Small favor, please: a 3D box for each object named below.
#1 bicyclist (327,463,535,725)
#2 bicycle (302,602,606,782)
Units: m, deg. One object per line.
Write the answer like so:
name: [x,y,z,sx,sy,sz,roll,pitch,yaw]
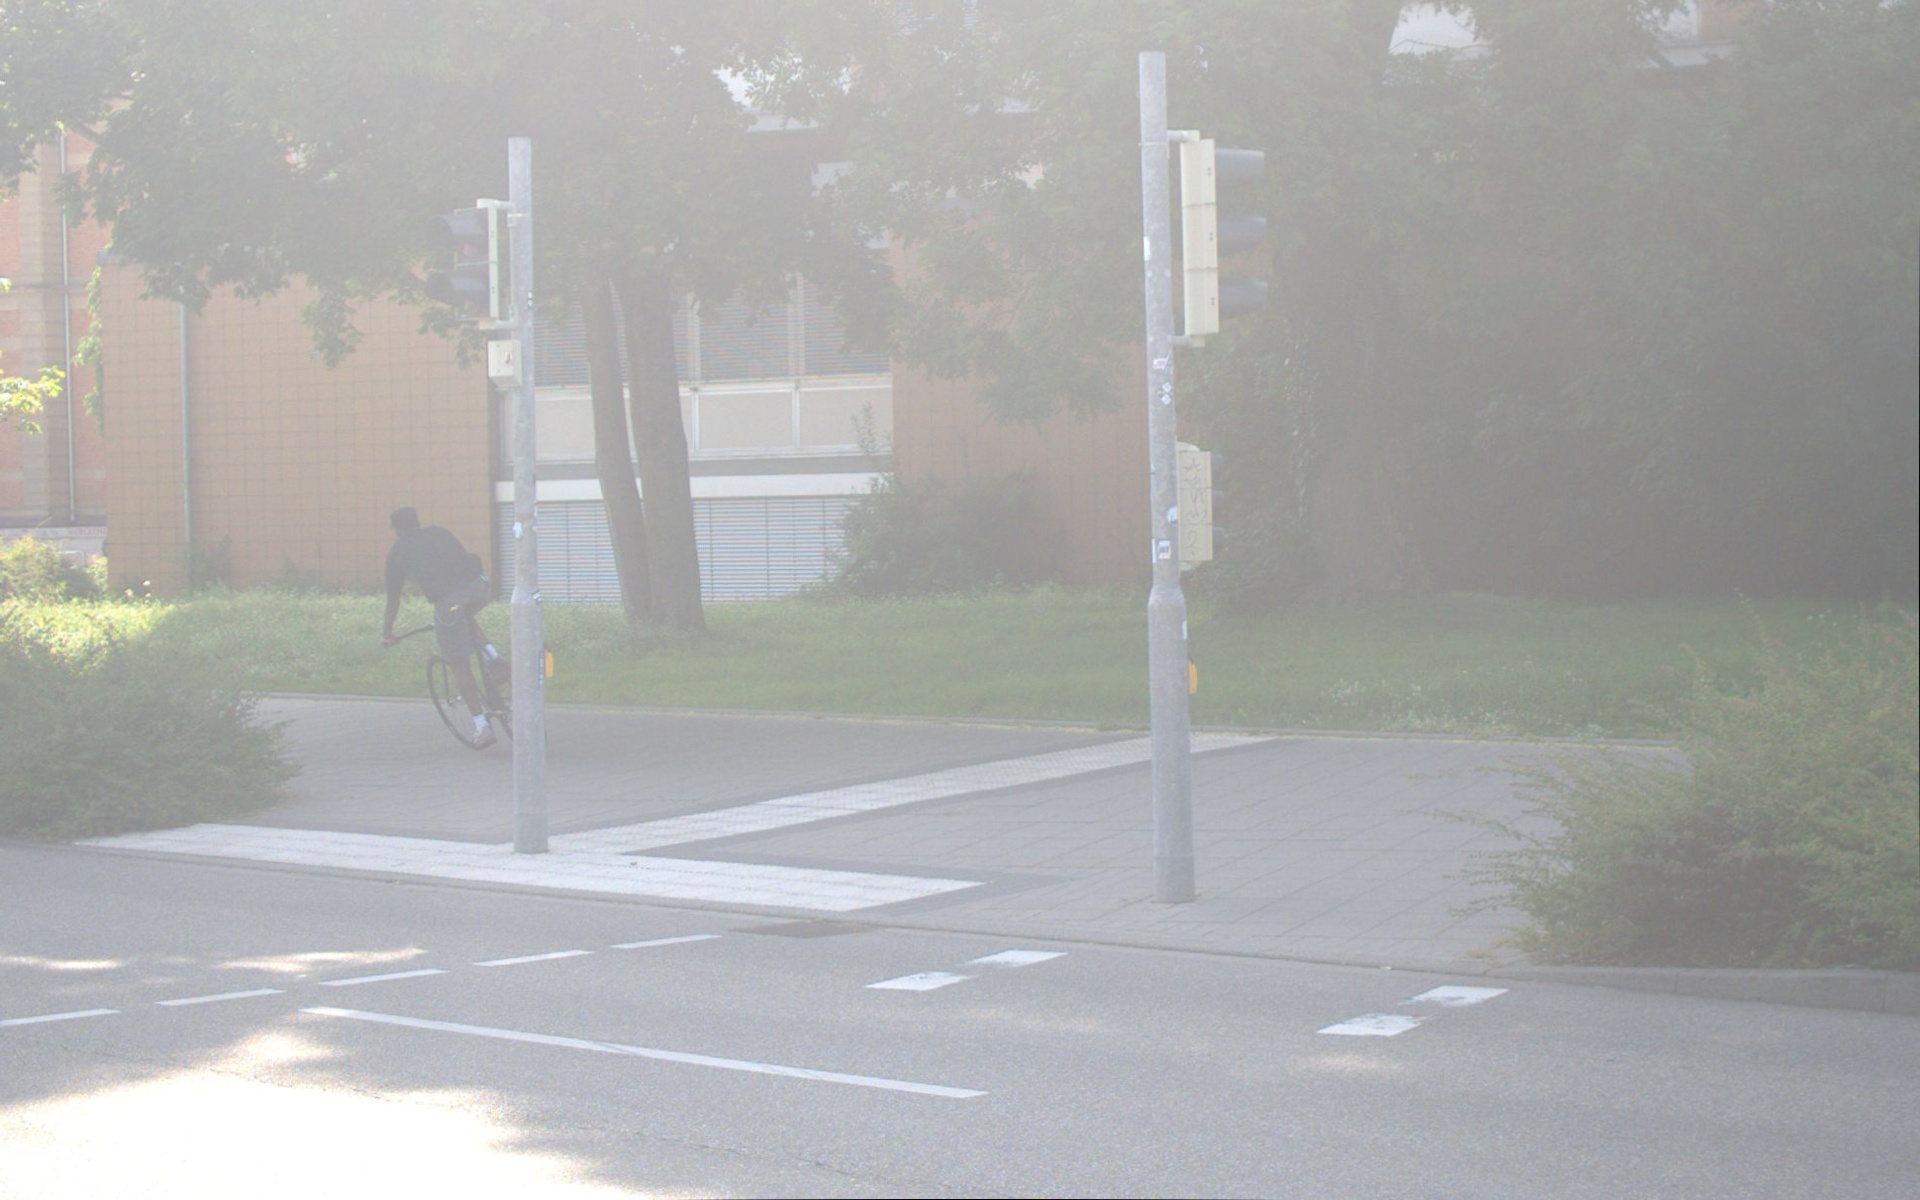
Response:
bicyclist: [-3.386,-0.054,22.016,0.772,1.572,0.990,-9,7,-42]
bicycle: [-3.257,0.562,21.980,0.772,0.972,2.149,-9,7,-42]
